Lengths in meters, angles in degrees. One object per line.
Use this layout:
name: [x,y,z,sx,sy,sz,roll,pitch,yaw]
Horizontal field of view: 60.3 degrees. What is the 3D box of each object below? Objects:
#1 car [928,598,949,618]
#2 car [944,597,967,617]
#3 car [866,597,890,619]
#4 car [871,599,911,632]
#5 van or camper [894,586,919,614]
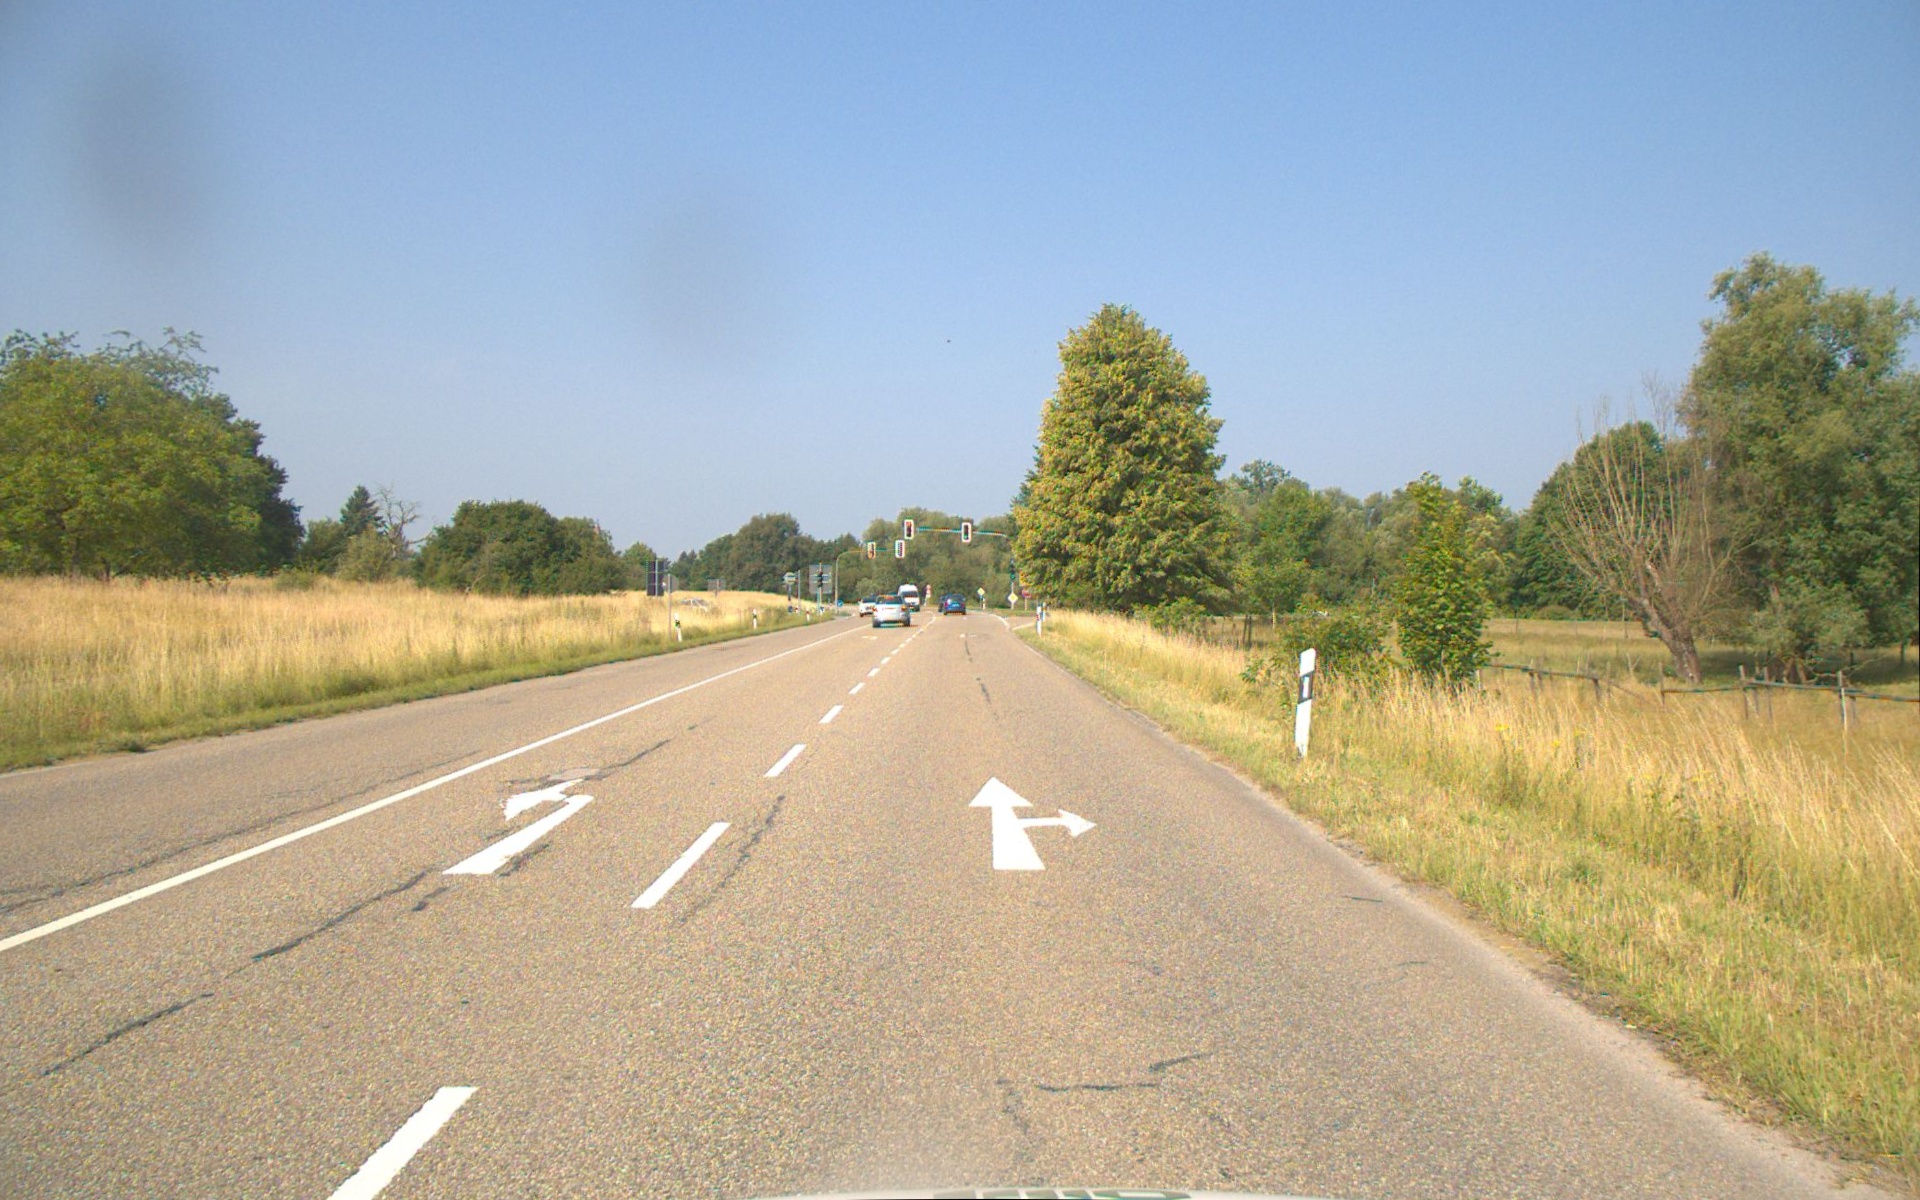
car: [-2.095,0.772,160.286,1.953,1.847,3.999,2,0,-1]
car: [-0.323,0.562,134.316,1.779,1.547,4.000,2,0,0]
car: [-6.895,0.631,138.777,1.559,1.758,4.001,2,0,2]
car: [-3.492,0.768,84.332,1.860,1.538,3.999,2,0,-1]
van or camper: [-5.499,0.021,169.415,2.218,2.757,5.262,2,0,1]
